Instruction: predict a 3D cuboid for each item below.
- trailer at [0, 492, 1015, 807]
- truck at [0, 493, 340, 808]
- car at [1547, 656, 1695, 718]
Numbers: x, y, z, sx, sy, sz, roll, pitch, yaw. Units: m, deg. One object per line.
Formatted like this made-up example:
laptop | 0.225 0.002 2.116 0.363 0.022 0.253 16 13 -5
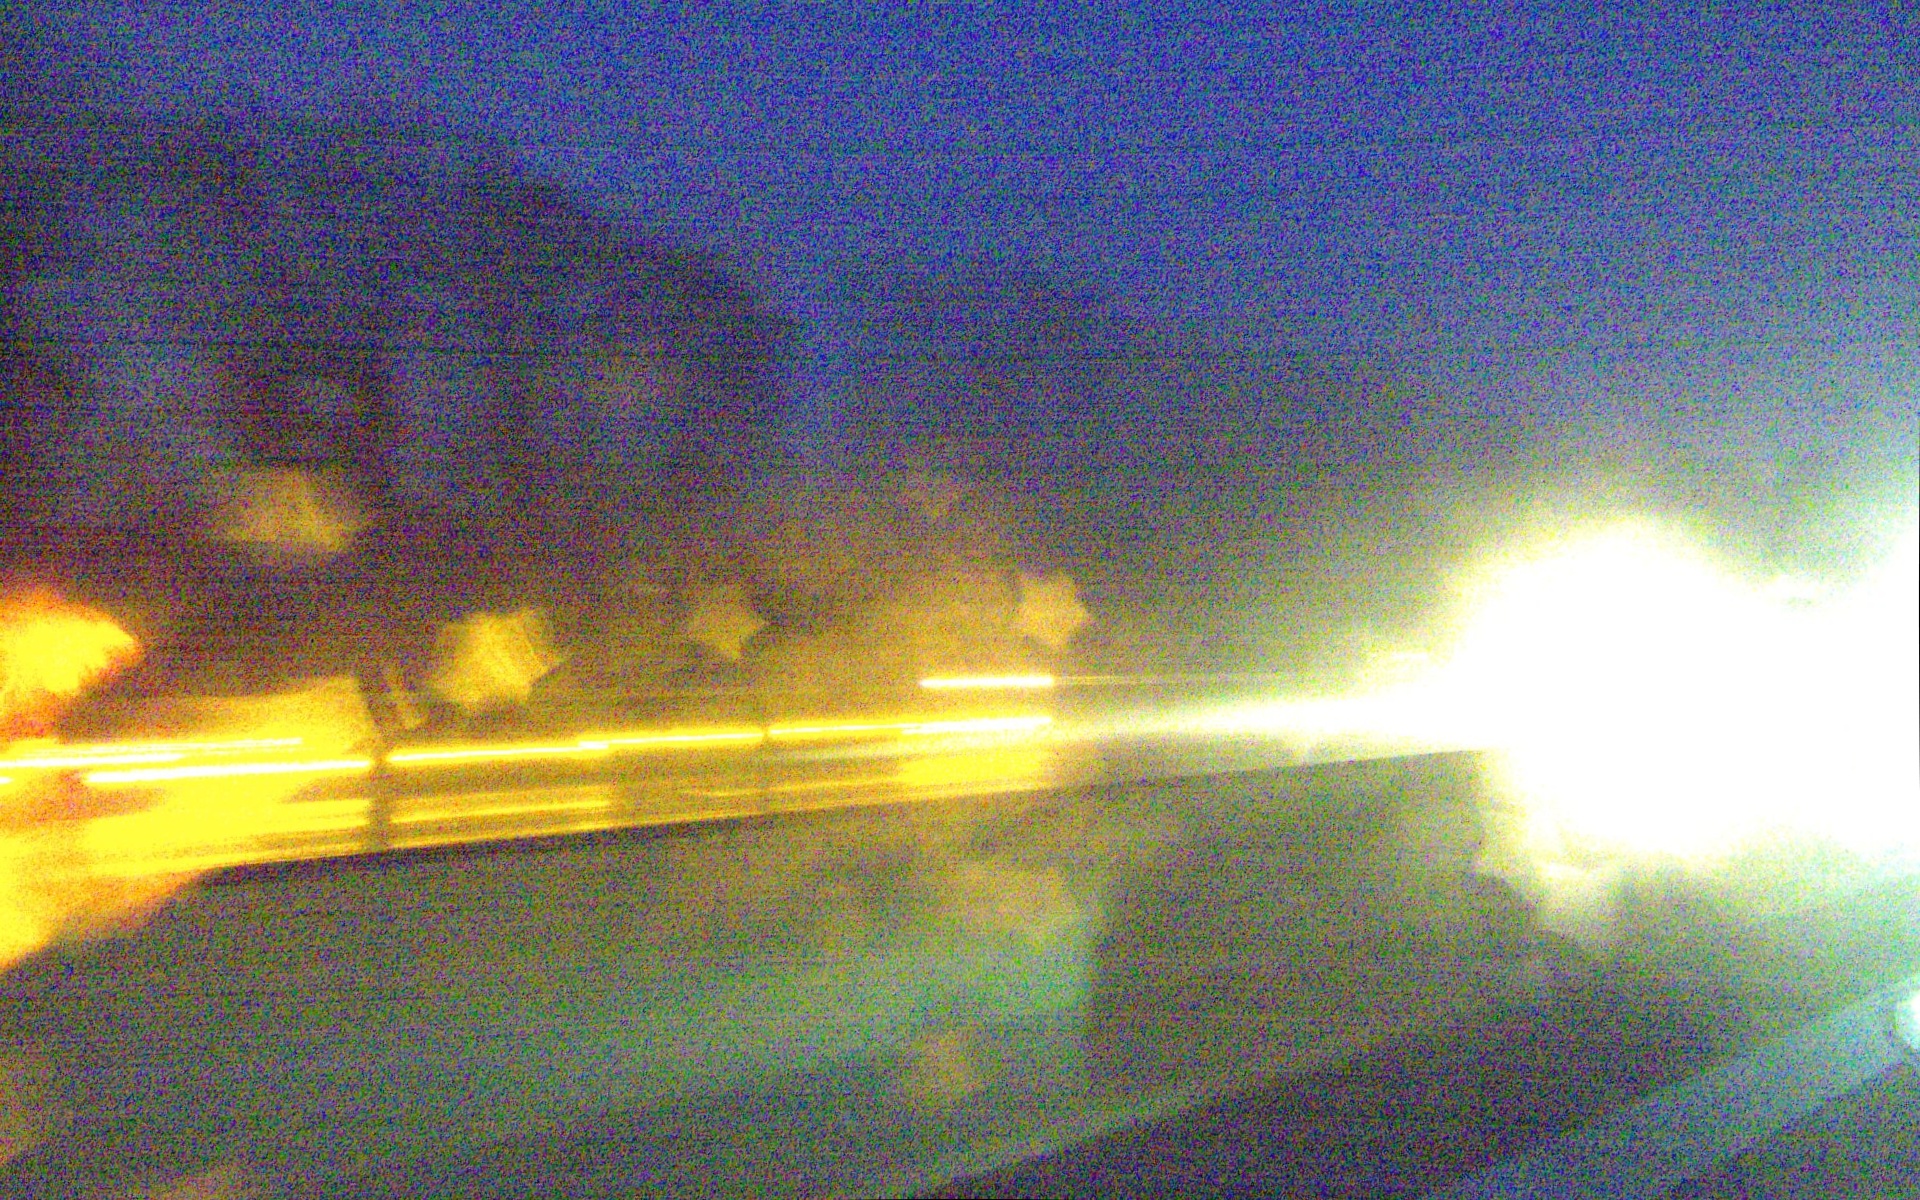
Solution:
trailer | -5.425 0.655 15.216 13.001 3.339 3.060 1 -2 -30
truck | -11.954 0.565 11.372 8.245 3.339 3.061 1 -2 -30
car | 19.825 2.552 30.104 4.453 1.706 1.908 2 -3 -30
